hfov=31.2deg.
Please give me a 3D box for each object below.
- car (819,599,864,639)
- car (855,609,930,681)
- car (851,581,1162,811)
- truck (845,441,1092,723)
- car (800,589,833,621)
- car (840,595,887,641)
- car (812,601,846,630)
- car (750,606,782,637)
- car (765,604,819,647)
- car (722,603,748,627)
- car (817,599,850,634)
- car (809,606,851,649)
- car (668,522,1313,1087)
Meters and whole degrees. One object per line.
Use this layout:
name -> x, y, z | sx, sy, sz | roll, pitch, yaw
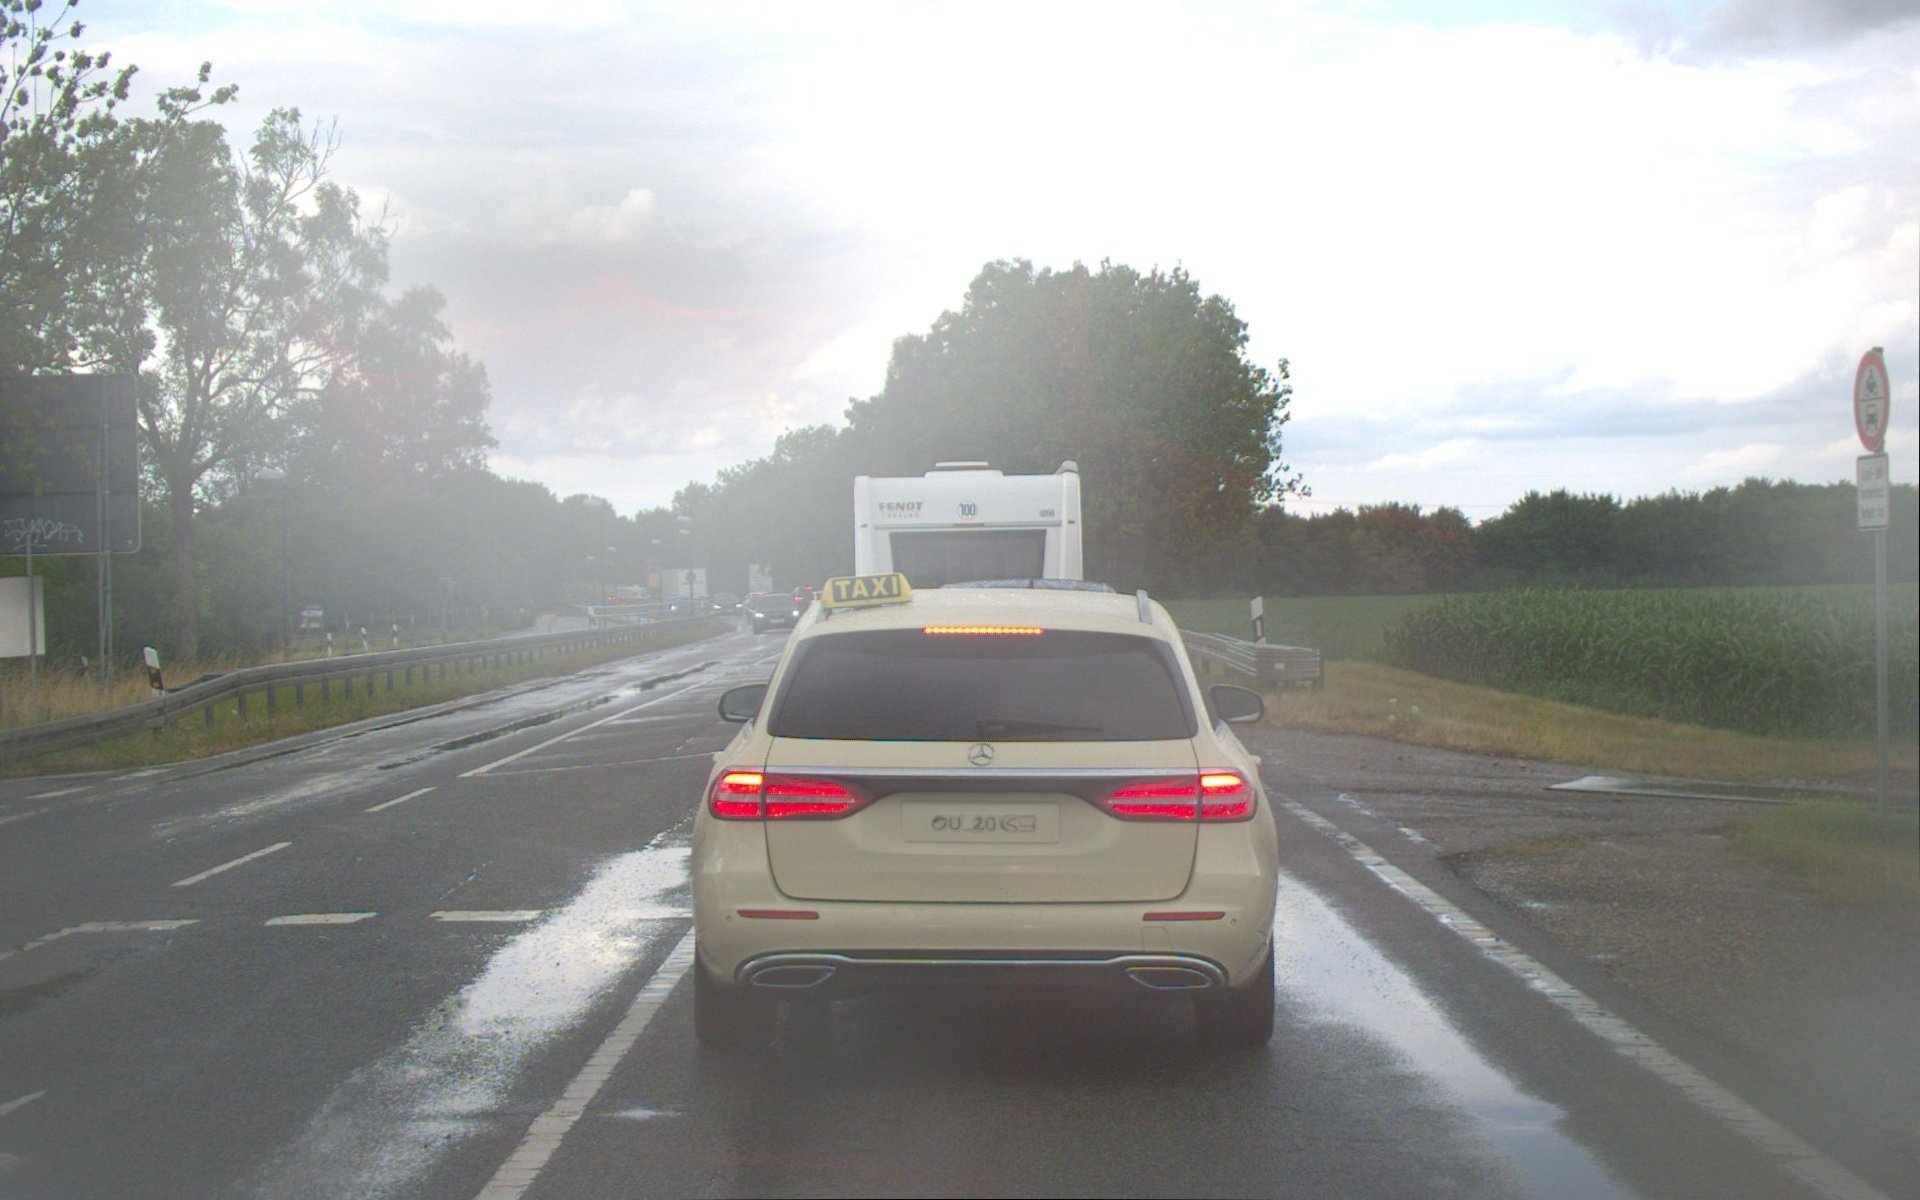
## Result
car -> -5.359, 0.841, 155.829 | 1.879, 1.755, 3.834 | -1, 0, -1
car -> -1.782, 1.188, 92.287 | 1.915, 1.834, 3.795 | -1, 0, 0
car -> 0.283, 0.632, 24.351 | 1.993, 1.457, 4.000 | 1, 0, -1
truck -> 0.046, -0.187, 37.428 | 2.363, 2.720, 7.314 | -1, 0, -1
car -> -8.800, 0.306, 210.873 | 1.895, 1.888, 3.844 | -1, 0, -4
car -> -3.841, 0.705, 137.008 | 1.791, 1.771, 3.721 | -1, 0, -1
car -> -7.728, 0.907, 202.869 | 1.748, 1.656, 3.673 | -1, 0, -5
car -> -10.544, 1.169, 186.871 | 1.580, 1.634, 3.442 | -1, 0, -1
car -> -6.347, 0.961, 130.218 | 1.828, 1.569, 4.000 | 1, 0, 0
car -> -14.371, 0.980, 219.565 | 1.607, 1.487, 3.786 | -1, 0, -3
car -> -7.010, 0.918, 191.015 | 1.740, 1.853, 3.785 | -1, 0, -1
car -> -6.224, 1.312, 165.128 | 1.852, 2.007, 3.811 | -1, 0, -1
car -> 0.066, 0.589, 11.839 | 1.842, 1.612, 4.000 | 0, 0, -1
